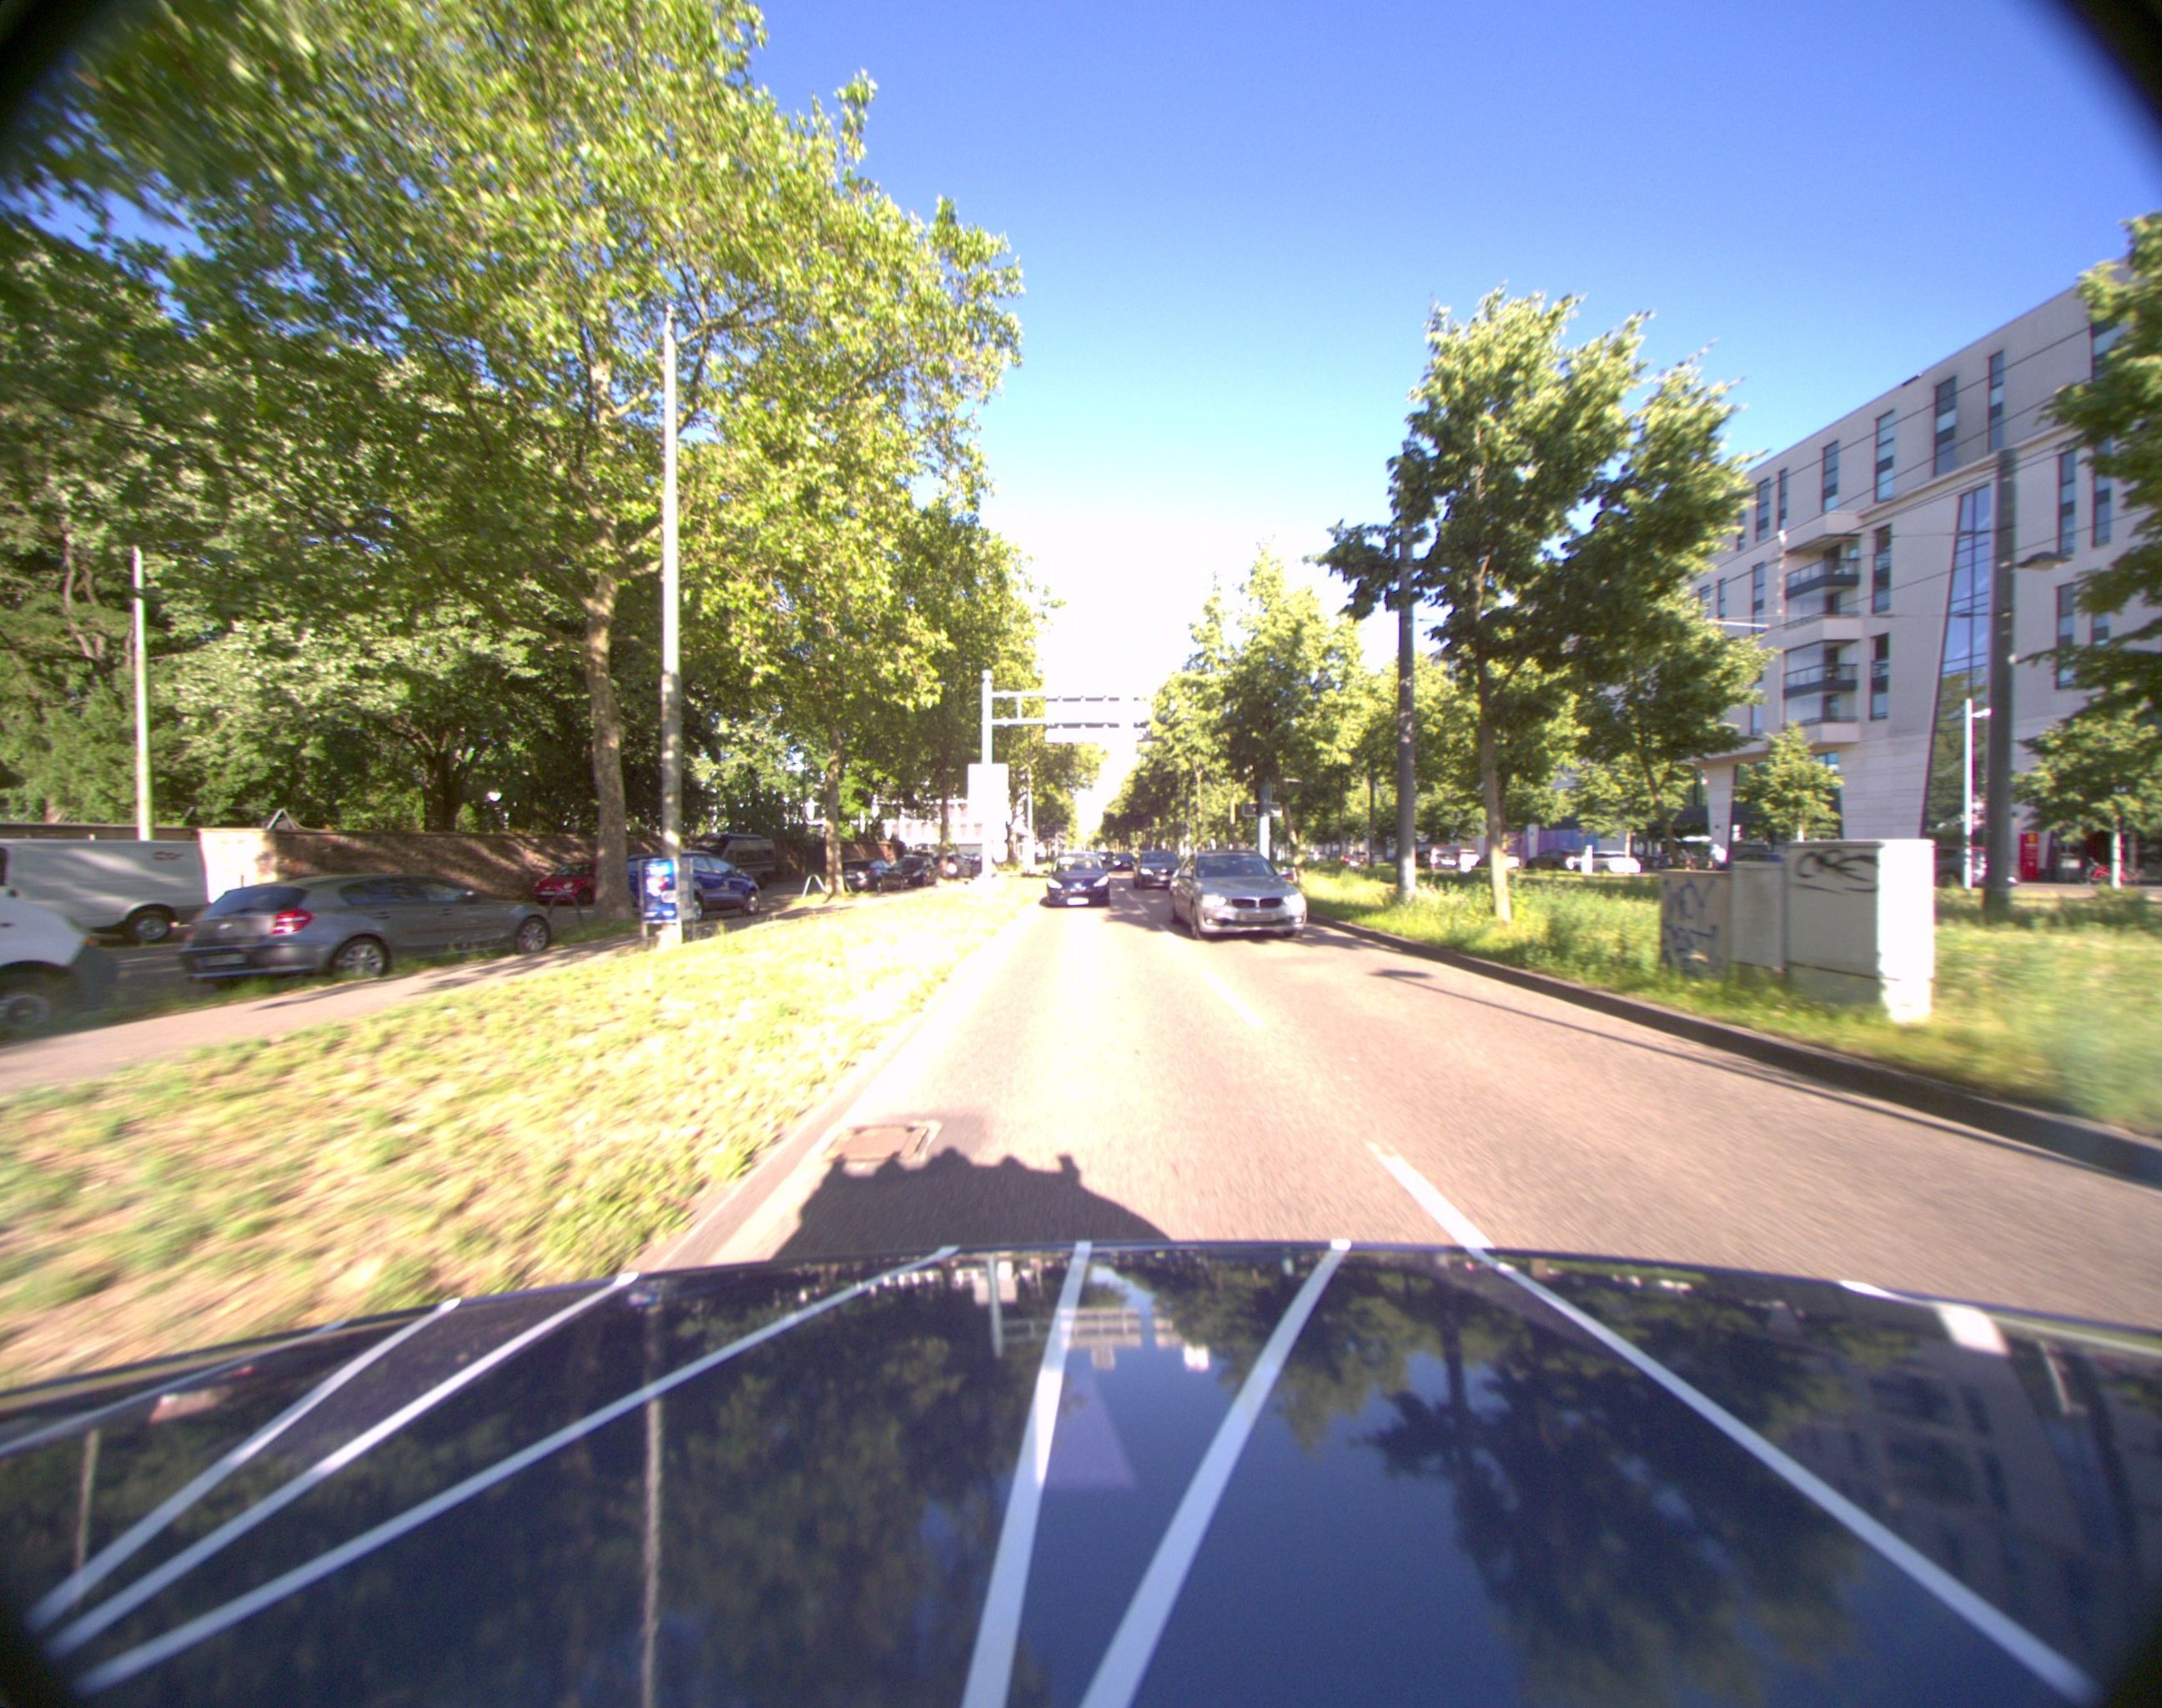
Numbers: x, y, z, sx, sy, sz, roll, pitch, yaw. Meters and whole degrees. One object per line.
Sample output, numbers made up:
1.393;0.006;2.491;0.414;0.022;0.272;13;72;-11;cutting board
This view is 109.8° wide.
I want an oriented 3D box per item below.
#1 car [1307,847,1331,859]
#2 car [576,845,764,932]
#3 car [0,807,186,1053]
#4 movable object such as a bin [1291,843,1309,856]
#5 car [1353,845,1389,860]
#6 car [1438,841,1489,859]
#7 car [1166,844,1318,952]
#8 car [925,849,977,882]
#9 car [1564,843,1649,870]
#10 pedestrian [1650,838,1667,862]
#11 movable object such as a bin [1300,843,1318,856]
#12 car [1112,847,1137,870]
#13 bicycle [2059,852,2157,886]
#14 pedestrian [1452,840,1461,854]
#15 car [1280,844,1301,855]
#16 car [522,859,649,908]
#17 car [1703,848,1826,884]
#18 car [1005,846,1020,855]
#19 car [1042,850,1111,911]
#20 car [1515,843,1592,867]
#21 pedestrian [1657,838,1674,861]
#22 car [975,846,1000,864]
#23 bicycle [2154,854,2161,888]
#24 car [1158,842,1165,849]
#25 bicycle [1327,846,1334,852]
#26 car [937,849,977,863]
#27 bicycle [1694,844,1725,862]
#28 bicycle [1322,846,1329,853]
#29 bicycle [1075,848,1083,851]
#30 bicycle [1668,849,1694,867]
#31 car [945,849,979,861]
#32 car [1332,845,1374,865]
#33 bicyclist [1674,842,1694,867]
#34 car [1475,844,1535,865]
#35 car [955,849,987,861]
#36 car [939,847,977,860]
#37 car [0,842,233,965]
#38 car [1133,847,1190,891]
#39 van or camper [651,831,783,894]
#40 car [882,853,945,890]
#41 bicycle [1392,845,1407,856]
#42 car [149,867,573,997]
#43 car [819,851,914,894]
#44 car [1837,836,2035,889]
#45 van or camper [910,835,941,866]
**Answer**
32.472;-0.190;103.818;1.999;1.433;4.018;-2;1;-1;car
-9.138;0.669;17.391;1.741;1.633;4.352;-2;2;2;car
-9.962;0.695;4.504;2.195;2.002;5.819;-2;1;2;car
32.122;-0.728;111.367;1.975;1.784;2.010;-2;1;-2;movable object such as a bin
32.577;-0.203;85.560;1.999;1.433;4.923;-2;1;-2;car
31.967;-0.363;63.650;1.998;1.433;4.455;-2;1;0;car
2.726;0.650;13.868;1.886;1.569;4.277;-2;1;1;car
-7.061;0.596;41.623;1.797;1.551;4.020;-4;1;4;car
32.035;0.113;46.462;1.999;1.433;4.454;-2;1;-2;car
41.484;-0.298;54.540;0.637;1.642;0.720;-2;2;-2;pedestrian
32.241;-0.652;107.509;1.975;1.784;1.555;-2;2;-1;movable object such as a bin
3.344;0.312;59.134;1.782;1.571;3.783;-2;1;1;car
39.039;0.548;28.938;0.735;1.191;2.240;-2;1;0;bicycle
42.994;-0.811;86.947;0.637;1.642;0.720;-2;2;-2;pedestrian
32.858;-0.721;119.374;1.999;1.719;4.337;-2;1;-2;car
-17.185;0.964;26.570;1.693;1.464;3.759;2;1;6;car
31.745;0.515;35.497;1.963;1.433;4.264;-2;1;1;car
-12.331;-0.655;136.567;1.998;1.477;4.402;2;1;3;car
-0.053;0.686;22.038;1.766;1.463;3.999;-2;1;2;car
31.869;0.037;51.430;1.999;1.433;4.935;-2;1;-1;car
42.299;-0.340;54.974;0.637;1.642;0.719;-3;2;-7;pedestrian
-9.451;0.060;76.355;2.001;1.631;3.995;-3;1;-13;car
38.972;0.608;26.211;0.735;1.191;2.240;-2;1;0;bicycle
25.312;-2.687;239.063;1.998;2.002;4.000;-2;1;4;car
39.870;-0.771;121.633;0.581;0.948;1.848;-2;1;3;bicycle
-14.900;0.206;91.371;4.390;1.403;2.000;3;1;3;car
37.338;-0.072;45.168;0.380;1.011;1.800;-2;1;3;bicycle
39.940;-0.753;124.064;0.619;0.983;1.848;-2;1;6;bicycle
-0.573;-1.277;203.973;1.927;0.899;0.647;0;1;3;bicycle
36.276;0.215;45.967;0.431;1.011;1.484;-2;1;3;bicycle
-15.237;0.135;97.342;4.202;1.490;1.781;0;1;-2;car
22.814;0.039;63.972;1.998;1.519;4.318;-2;1;1;car
36.258;0.024;45.709;0.431;1.411;0.956;-2;2;2;bicyclist
32.332;0.017;58.080;1.999;1.433;4.454;-2;1;-2;car
-14.778;0.118;102.350;4.089;1.460;1.715;1;2;2;car
-15.209;-0.052;94.054;4.340;1.469;1.906;1;0;-3;car
-18.590;0.817;13.108;2.091;2.002;4.943;-1;1;5;car
3.129;0.552;30.173;1.950;1.514;4.000;-2;1;3;car
-16.988;0.321;36.017;2.561;2.669;6.566;1;1;5;van or camper
-7.601;0.765;34.814;1.797;1.430;3.884;-2;1;3;car
38.852;-0.450;92.774;0.949;1.273;2.772;-2;1;8;bicycle
-9.665;0.939;10.789;1.998;1.282;4.052;-2;1;2;car
-8.181;0.650;29.491;1.998;1.373;4.677;-3;1;4;car
31.827;0.249;28.547;1.999;1.762;4.774;-2;1;-2;car
-14.653;-0.358;71.864;1.999;2.716;4.962;2;1;-2;van or camper
